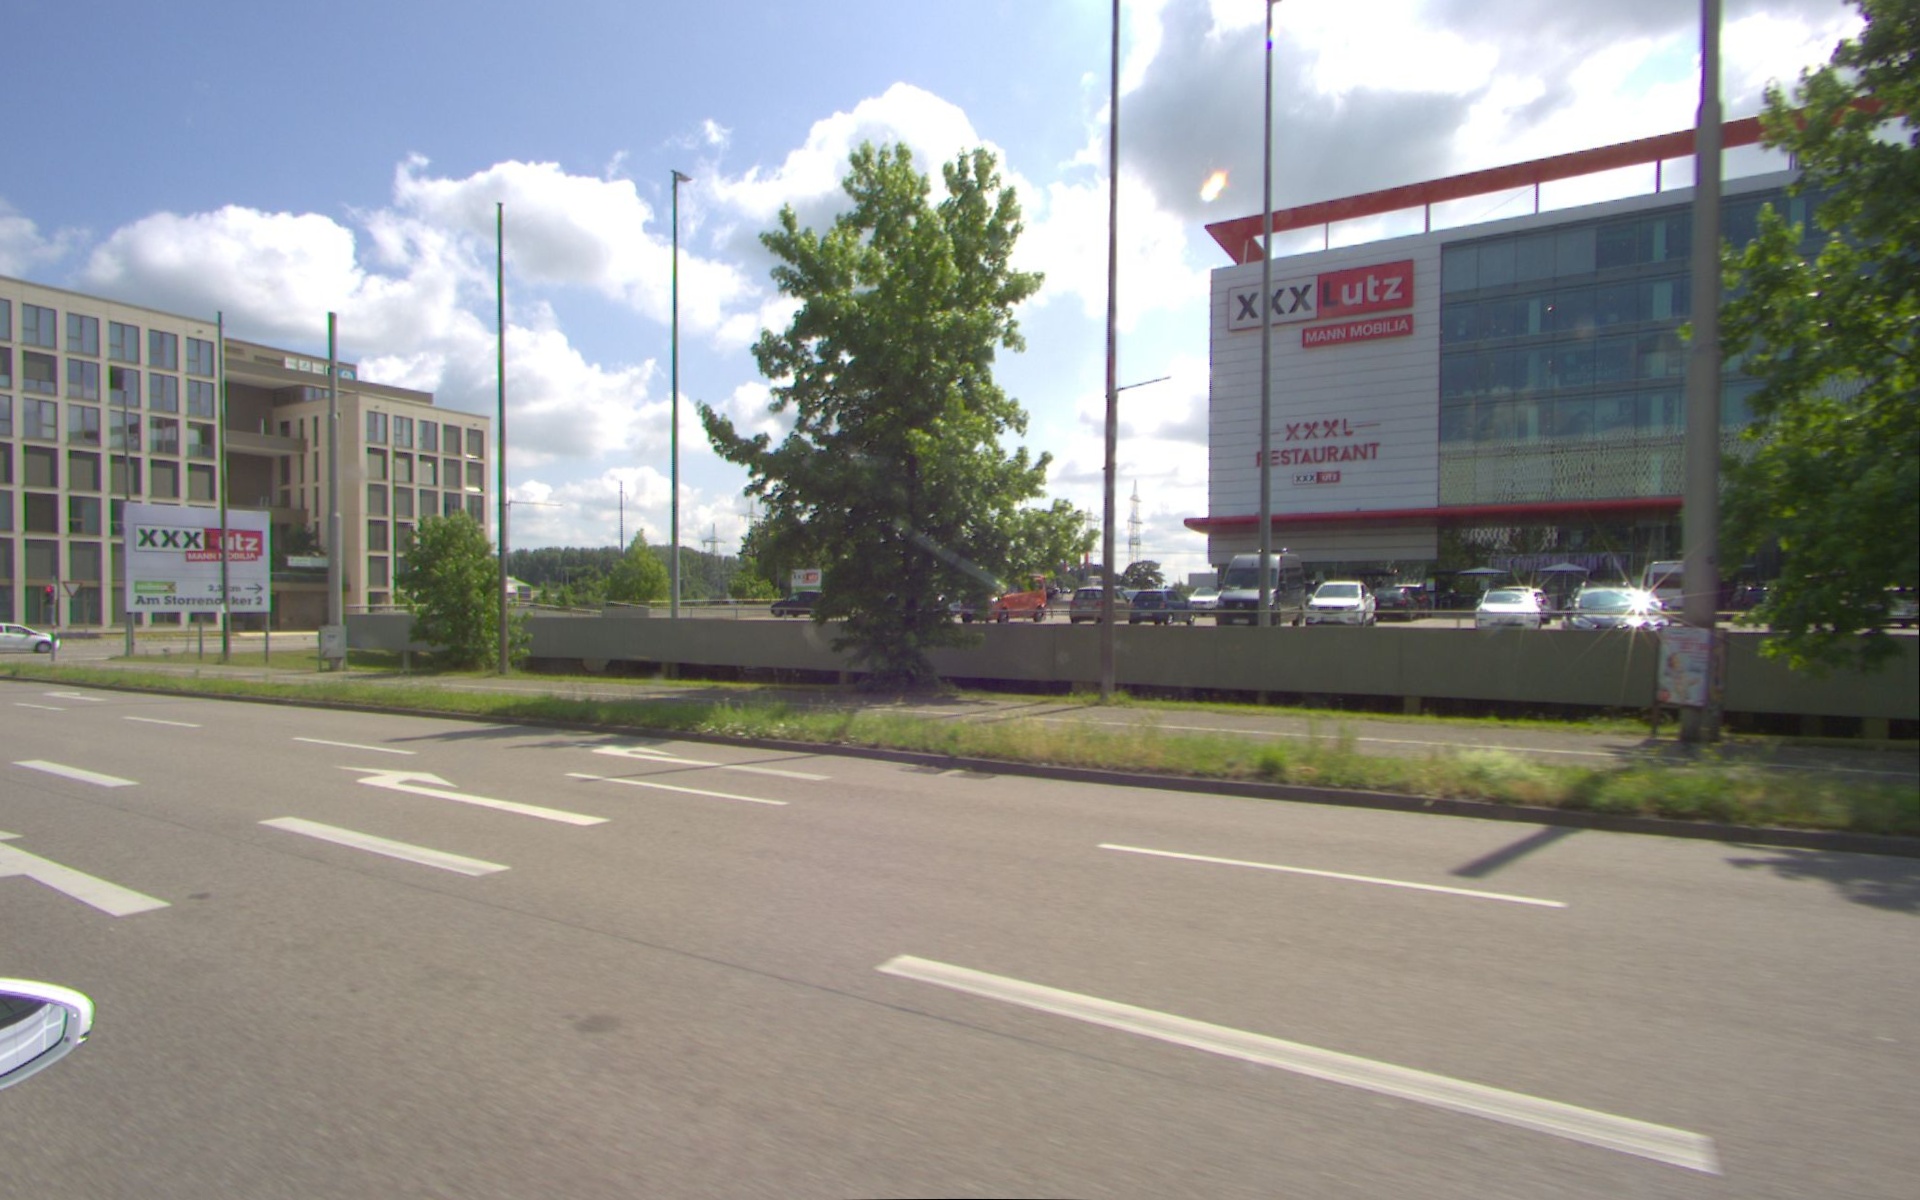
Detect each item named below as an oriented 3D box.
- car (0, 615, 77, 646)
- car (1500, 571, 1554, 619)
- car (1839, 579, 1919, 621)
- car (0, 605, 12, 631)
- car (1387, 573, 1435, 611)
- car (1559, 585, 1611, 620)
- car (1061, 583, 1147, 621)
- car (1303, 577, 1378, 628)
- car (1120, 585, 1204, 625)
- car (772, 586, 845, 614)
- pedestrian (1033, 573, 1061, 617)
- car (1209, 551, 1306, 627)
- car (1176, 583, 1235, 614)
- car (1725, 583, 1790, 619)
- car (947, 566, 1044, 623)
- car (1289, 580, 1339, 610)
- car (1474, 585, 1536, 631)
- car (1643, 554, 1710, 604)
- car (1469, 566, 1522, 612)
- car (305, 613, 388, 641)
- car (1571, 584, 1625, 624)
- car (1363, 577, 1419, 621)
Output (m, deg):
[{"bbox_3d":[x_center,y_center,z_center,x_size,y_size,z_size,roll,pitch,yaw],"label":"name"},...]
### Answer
[{"bbox_3d":[-47.018,1.498,50.186,1.671,1.485,3.843,1,-1,33],"label":"car"},{"bbox_3d":[23.503,-0.177,41.423,1.749,1.862,3.877,1,-1,32],"label":"car"},{"bbox_3d":[33.327,0.037,36.174,1.604,1.438,3.982,1,-1,31],"label":"car"},{"bbox_3d":[-62.948,1.114,62.628,1.970,1.628,4.976,1,-1,30],"label":"car"},{"bbox_3d":[21.998,-0.381,48.796,1.723,1.728,3.737,1,-1,31],"label":"car"},{"bbox_3d":[27.789,0.137,44.597,1.882,1.452,3.789,1,-1,31],"label":"car"},{"bbox_3d":[6.046,0.136,41.644,1.957,1.473,4.863,-1,-1,29],"label":"car"},{"bbox_3d":[12.344,0.142,32.348,1.721,1.534,3.983,-1,-1,29],"label":"car"},{"bbox_3d":[8.229,0.257,40.452,1.957,1.503,4.863,-1,-1,29],"label":"car"},{"bbox_3d":[-8.653,0.018,57.244,3.808,1.541,1.868,-1,-1,28],"label":"car"},{"bbox_3d":[4.102,-0.226,47.301,0.944,2.040,0.957,1,0,32],"label":"pedestrian"},{"bbox_3d":[10.299,-0.270,34.352,2.030,2.396,5.653,0,-1,29],"label":"car"},{"bbox_3d":[13.398,-0.076,54.579,1.971,1.563,3.980,1,-1,32],"label":"car"},{"bbox_3d":[33.474,0.062,42.112,1.604,1.438,3.563,1,-1,31],"label":"car"},{"bbox_3d":[1.610,-0.158,43.265,1.957,2.223,5.155,0,-2,30],"label":"car"},{"bbox_3d":[18.183,-0.243,51.373,1.611,1.461,3.890,1,-1,31],"label":"car"},{"bbox_3d":[18.173,0.217,33.311,1.700,1.453,4.176,1,1,30],"label":"car"},{"bbox_3d":[30.382,-0.852,42.577,1.970,1.977,3.981,1,-1,31],"label":"car"},{"bbox_3d":[25.177,-0.484,46.998,1.970,2.040,3.981,1,-1,31],"label":"car"},{"bbox_3d":[-38.004,1.652,62.129,1.609,1.523,4.120,1,1,44],"label":"car"},{"bbox_3d":[25.658,0.201,40.374,1.718,1.536,3.789,1,-1,31],"label":"car"},{"bbox_3d":[19.167,-0.027,44.426,1.749,1.862,3.879,1,-1,31],"label":"car"}]
